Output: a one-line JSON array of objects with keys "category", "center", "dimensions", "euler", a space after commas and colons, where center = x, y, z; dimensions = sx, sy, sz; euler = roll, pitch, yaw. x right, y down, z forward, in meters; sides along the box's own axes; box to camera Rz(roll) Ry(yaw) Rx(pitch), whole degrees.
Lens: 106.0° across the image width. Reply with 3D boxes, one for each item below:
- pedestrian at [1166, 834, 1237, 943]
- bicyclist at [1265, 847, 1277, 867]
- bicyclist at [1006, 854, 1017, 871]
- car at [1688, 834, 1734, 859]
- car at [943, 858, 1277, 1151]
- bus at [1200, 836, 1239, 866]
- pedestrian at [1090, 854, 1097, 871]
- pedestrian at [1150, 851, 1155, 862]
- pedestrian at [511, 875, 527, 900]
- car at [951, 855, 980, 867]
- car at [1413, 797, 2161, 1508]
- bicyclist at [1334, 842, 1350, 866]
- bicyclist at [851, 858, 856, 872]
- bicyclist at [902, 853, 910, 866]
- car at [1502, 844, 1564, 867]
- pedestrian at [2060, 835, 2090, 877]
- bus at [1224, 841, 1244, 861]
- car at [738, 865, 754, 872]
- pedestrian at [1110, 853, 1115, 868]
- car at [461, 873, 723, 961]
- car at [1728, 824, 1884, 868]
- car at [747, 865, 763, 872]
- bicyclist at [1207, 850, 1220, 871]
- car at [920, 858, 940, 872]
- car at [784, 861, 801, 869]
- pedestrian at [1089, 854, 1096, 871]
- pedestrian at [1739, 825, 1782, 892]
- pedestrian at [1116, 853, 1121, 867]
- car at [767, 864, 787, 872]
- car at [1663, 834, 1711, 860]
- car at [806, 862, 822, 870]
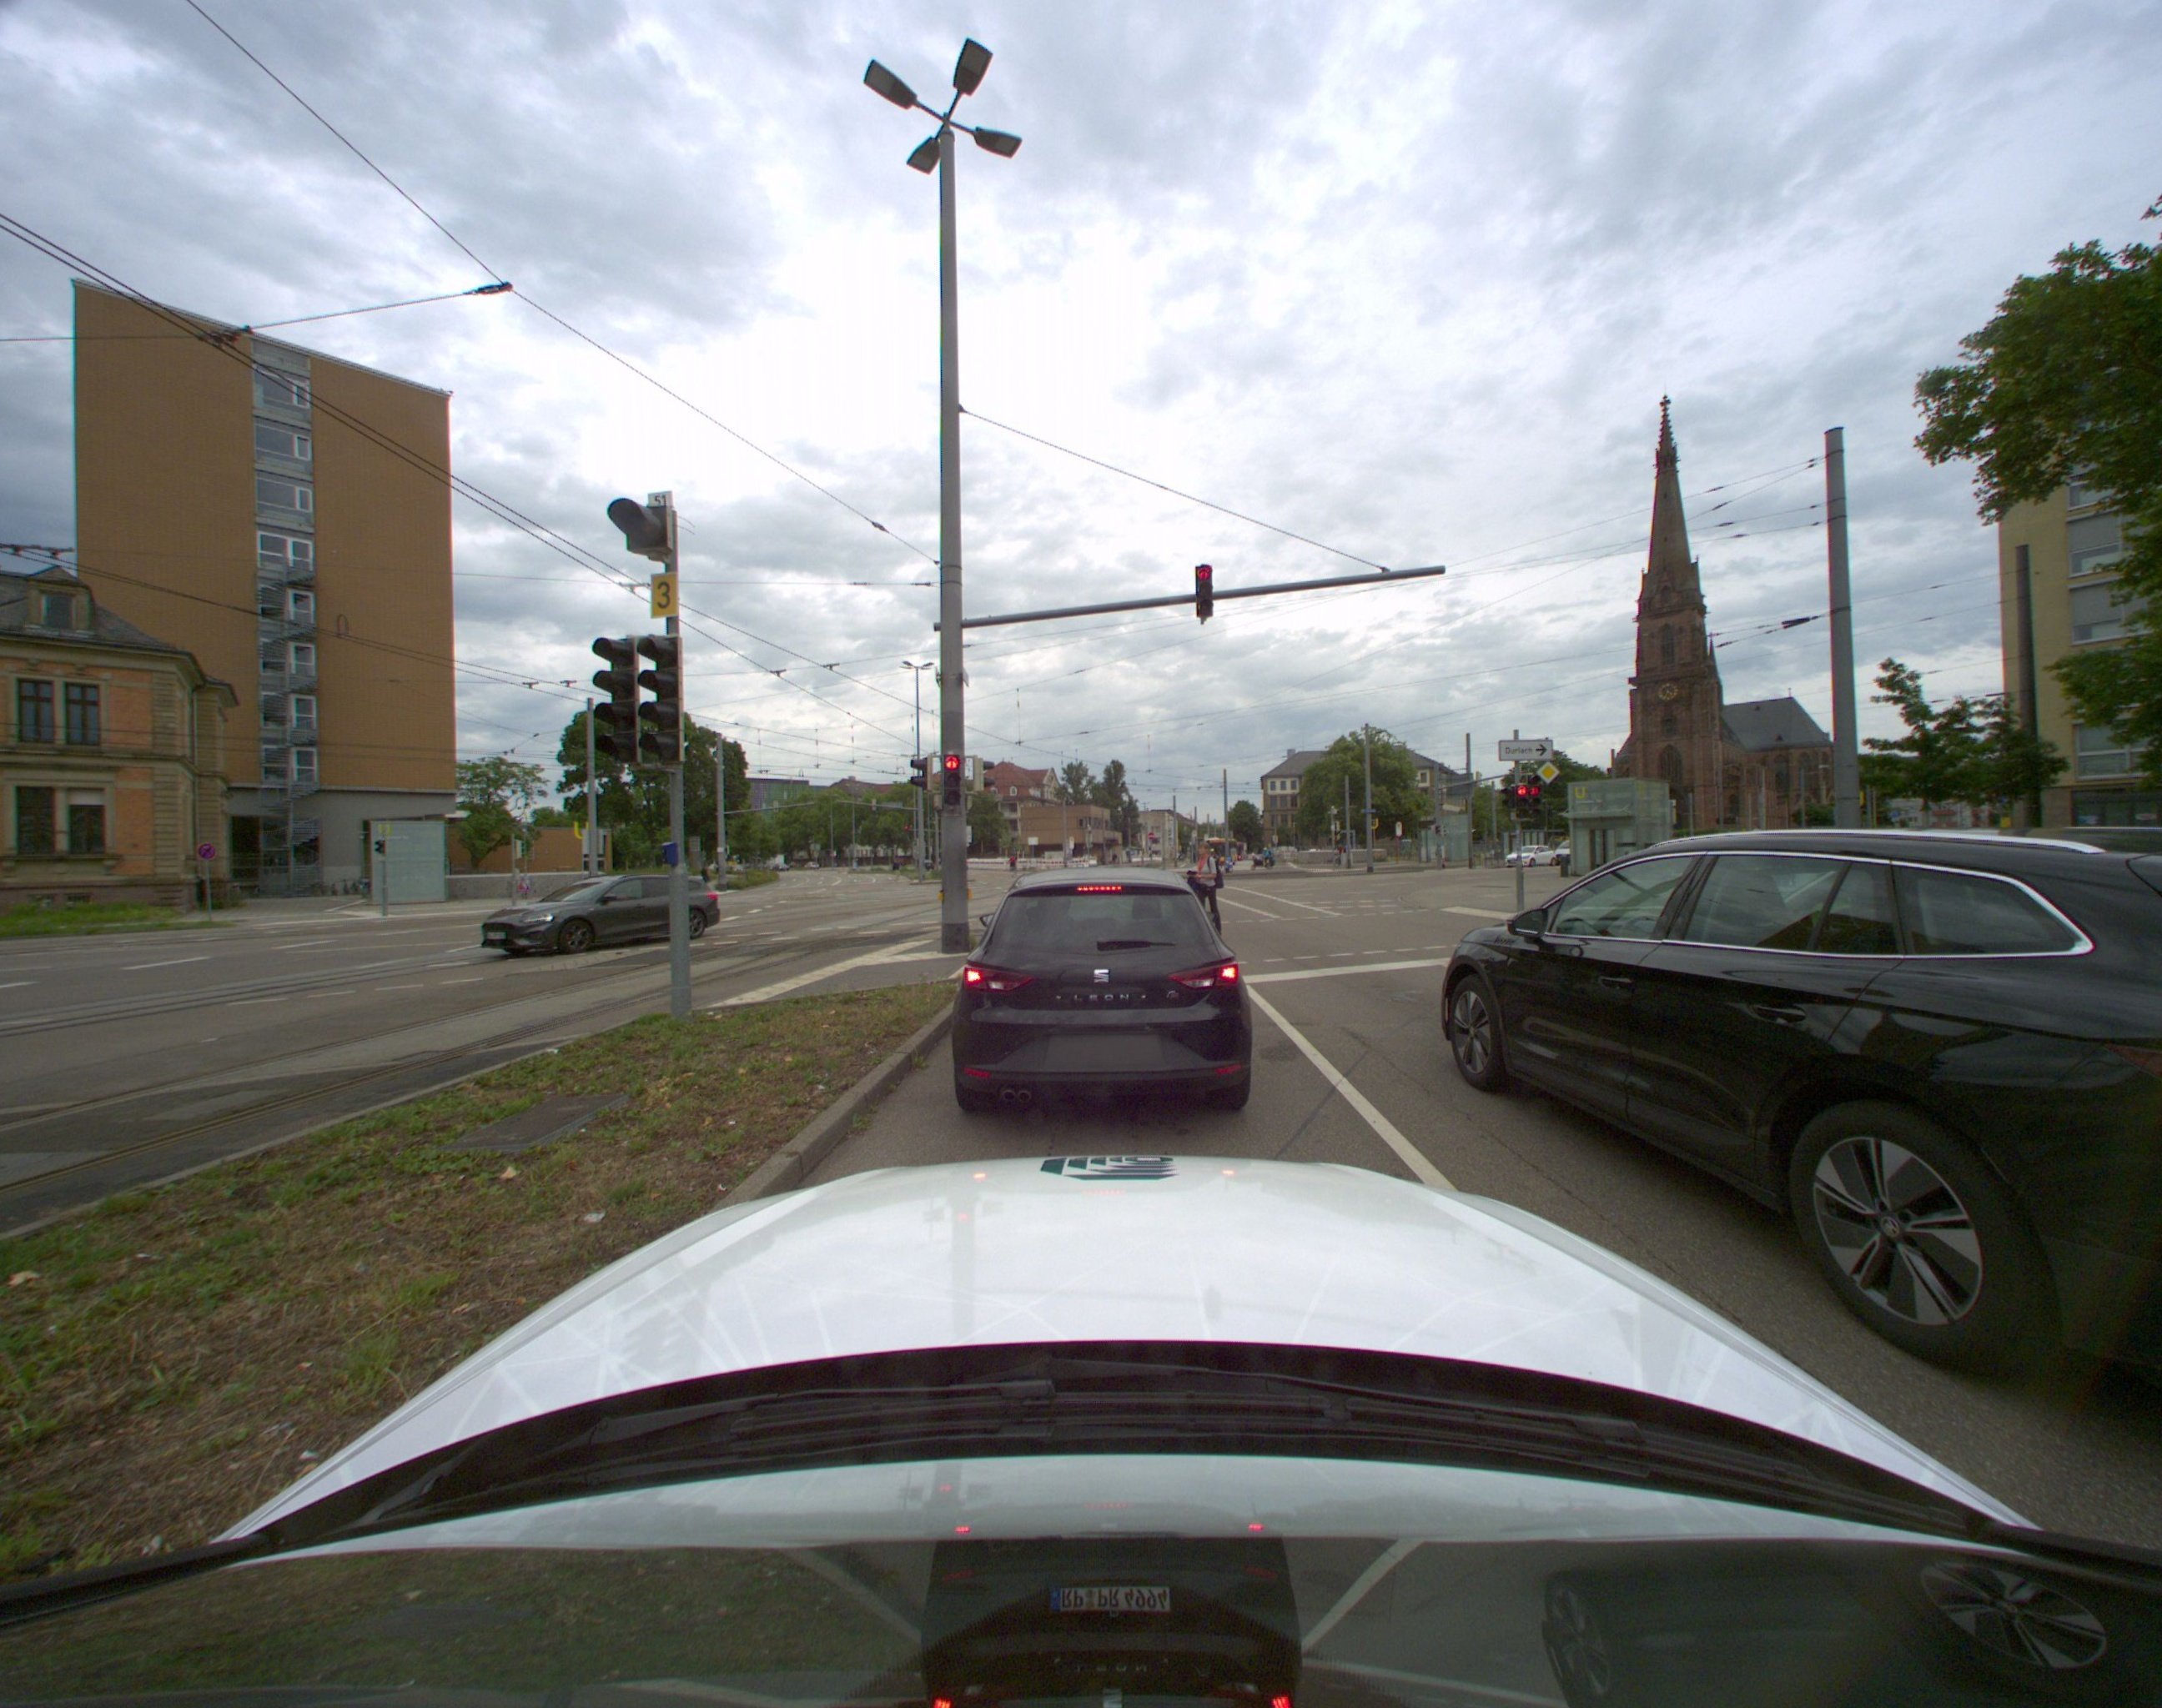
[{"category": "pedestrian", "center": [2.227, 0.612, 15.001], "dimensions": [1.110, 1.907, 0.727], "euler": [0, -1, -41]}, {"category": "bicyclist", "center": [18.362, 0.276, 78.800], "dimensions": [0.869, 1.851, 1.046], "euler": [-1, 0, -4]}, {"category": "bicyclist", "center": [-7.031, 0.852, 81.944], "dimensions": [0.886, 1.732, 0.888], "euler": [-1, 0, -20]}, {"category": "car", "center": [53.564, -0.675, 69.200], "dimensions": [4.017, 2.013, 1.978], "euler": [-1, 0, -36]}, {"category": "car", "center": [0.092, 0.776, 6.109], "dimensions": [1.700, 1.449, 3.809], "euler": [-1, 0, -2]}, {"category": "bus", "center": [15.956, -0.367, 93.278], "dimensions": [2.938, 3.123, 11.589], "euler": [-2, 0, 16]}, {"category": "pedestrian", "center": [1.497, 1.017, 97.523], "dimensions": [0.704, 1.918, 0.625], "euler": [-2, 0, 9]}, {"category": "pedestrian", "center": [12.478, 0.471, 142.715], "dimensions": [0.615, 1.918, 0.715], "euler": [-3, -2, 27]}, {"category": "pedestrian", "center": [-30.814, 1.811, 44.640], "dimensions": [0.492, 1.336, 0.577], "euler": [-2, -1, 41]}, {"category": "car", "center": [-17.545, 1.095, 123.664], "dimensions": [3.970, 1.684, 2.001], "euler": [-2, -2, 3]}, {"category": "car", "center": [3.325, 0.654, 3.773], "dimensions": [1.771, 1.597, 4.510], "euler": [-1, 0, 1]}, {"category": "bicyclist", "center": [21.290, -0.005, 66.435], "dimensions": [1.003, 1.898, 0.768], "euler": [-1, -1, -44]}, {"category": "bicyclist", "center": [-32.875, 1.615, 117.707], "dimensions": [0.508, 2.014, 0.593], "euler": [-3, -2, 44]}, {"category": "bicyclist", "center": [-29.001, 0.926, 134.824], "dimensions": [0.928, 2.013, 0.984], "euler": [-2, 0, 30]}, {"category": "car", "center": [30.431, 0.106, 54.847], "dimensions": [4.011, 1.464, 1.758], "euler": [-1, -2, -30]}, {"category": "pedestrian", "center": [39.464, 0.086, 32.343], "dimensions": [0.875, 1.638, 0.631], "euler": [-1, 0, -32]}, {"category": "bus", "center": [25.718, -0.498, 136.289], "dimensions": [2.635, 3.283, 11.034], "euler": [-2, 0, 13]}, {"category": "car", "center": [-73.839, 3.205, 179.391], "dimensions": [3.949, 1.464, 1.792], "euler": [-1, 0, 43]}, {"category": "pedestrian", "center": [4.269, 0.863, 110.638], "dimensions": [0.618, 1.918, 0.711], "euler": [-2, 0, 5]}, {"category": "car", "center": [-9.686, 1.178, 16.592], "dimensions": [1.678, 1.396, 4.416], "euler": [-2, 0, 22]}, {"category": "car", "center": [37.656, -0.361, 42.524], "dimensions": [5.672, 2.014, 2.038], "euler": [-2, -2, 19]}, {"category": "car", "center": [-68.772, 3.048, 171.583], "dimensions": [1.792, 1.464, 3.951], "euler": [-1, 0, -44]}, {"category": "bicyclist", "center": [10.681, 0.524, 65.635], "dimensions": [0.852, 1.673, 0.653], "euler": [-1, 0, -4]}, {"category": "car", "center": [-19.580, 1.448, 105.421], "dimensions": [2.000, 1.684, 3.973], "euler": [-1, -2, -20]}, {"category": "car", "center": [-58.944, 2.284, 166.288], "dimensions": [1.792, 1.464, 3.950], "euler": [-1, 0, -45]}, {"category": "pedestrian", "center": [1.340, 1.003, 96.730], "dimensions": [0.704, 1.918, 0.625], "euler": [-2, 0, 9]}, {"category": "pedestrian", "center": [20.124, 0.141, 24.112], "dimensions": [0.878, 1.930, 1.023], "euler": [-1, 0, 43]}, {"category": "pedestrian", "center": [5.040, 0.838, 110.595], "dimensions": [0.618, 1.918, 0.711], "euler": [-2, 0, 5]}, {"category": "car", "center": [-54.056, 2.493, 144.682], "dimensions": [1.792, 1.464, 3.950], "euler": [-1, 0, -45]}, {"category": "car", "center": [49.702, -0.584, 66.762], "dimensions": [4.017, 2.013, 1.978], "euler": [-1, 0, -36]}, {"category": "car", "center": [-52.077, 2.322, 158.627], "dimensions": [1.790, 1.464, 3.956], "euler": [-1, 0, -36]}]
